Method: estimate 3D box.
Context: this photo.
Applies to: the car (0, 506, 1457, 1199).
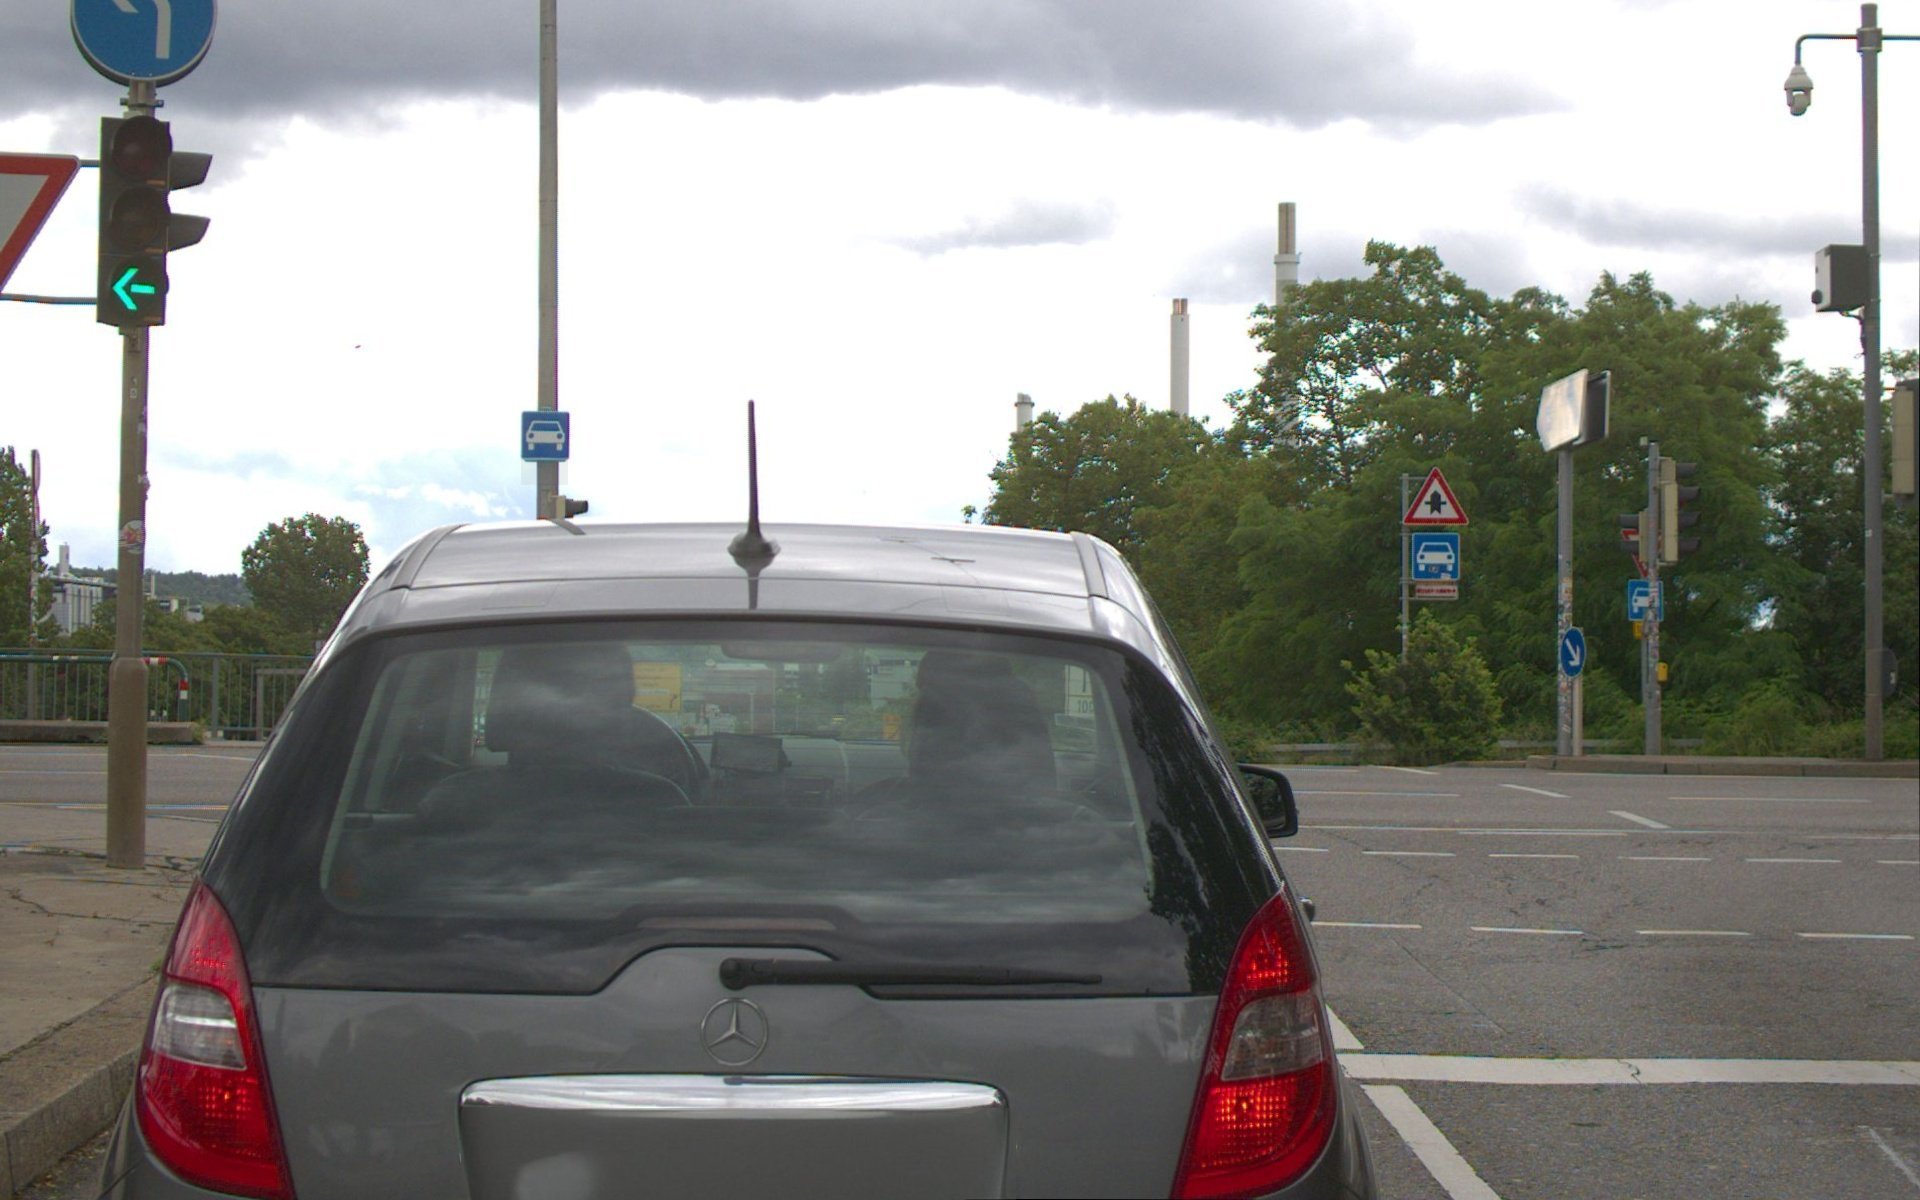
[{"bbox_3d":[-0.300,0.650,5.883,1.739,1.538,3.541,1,1,0],"label":"car"}]
